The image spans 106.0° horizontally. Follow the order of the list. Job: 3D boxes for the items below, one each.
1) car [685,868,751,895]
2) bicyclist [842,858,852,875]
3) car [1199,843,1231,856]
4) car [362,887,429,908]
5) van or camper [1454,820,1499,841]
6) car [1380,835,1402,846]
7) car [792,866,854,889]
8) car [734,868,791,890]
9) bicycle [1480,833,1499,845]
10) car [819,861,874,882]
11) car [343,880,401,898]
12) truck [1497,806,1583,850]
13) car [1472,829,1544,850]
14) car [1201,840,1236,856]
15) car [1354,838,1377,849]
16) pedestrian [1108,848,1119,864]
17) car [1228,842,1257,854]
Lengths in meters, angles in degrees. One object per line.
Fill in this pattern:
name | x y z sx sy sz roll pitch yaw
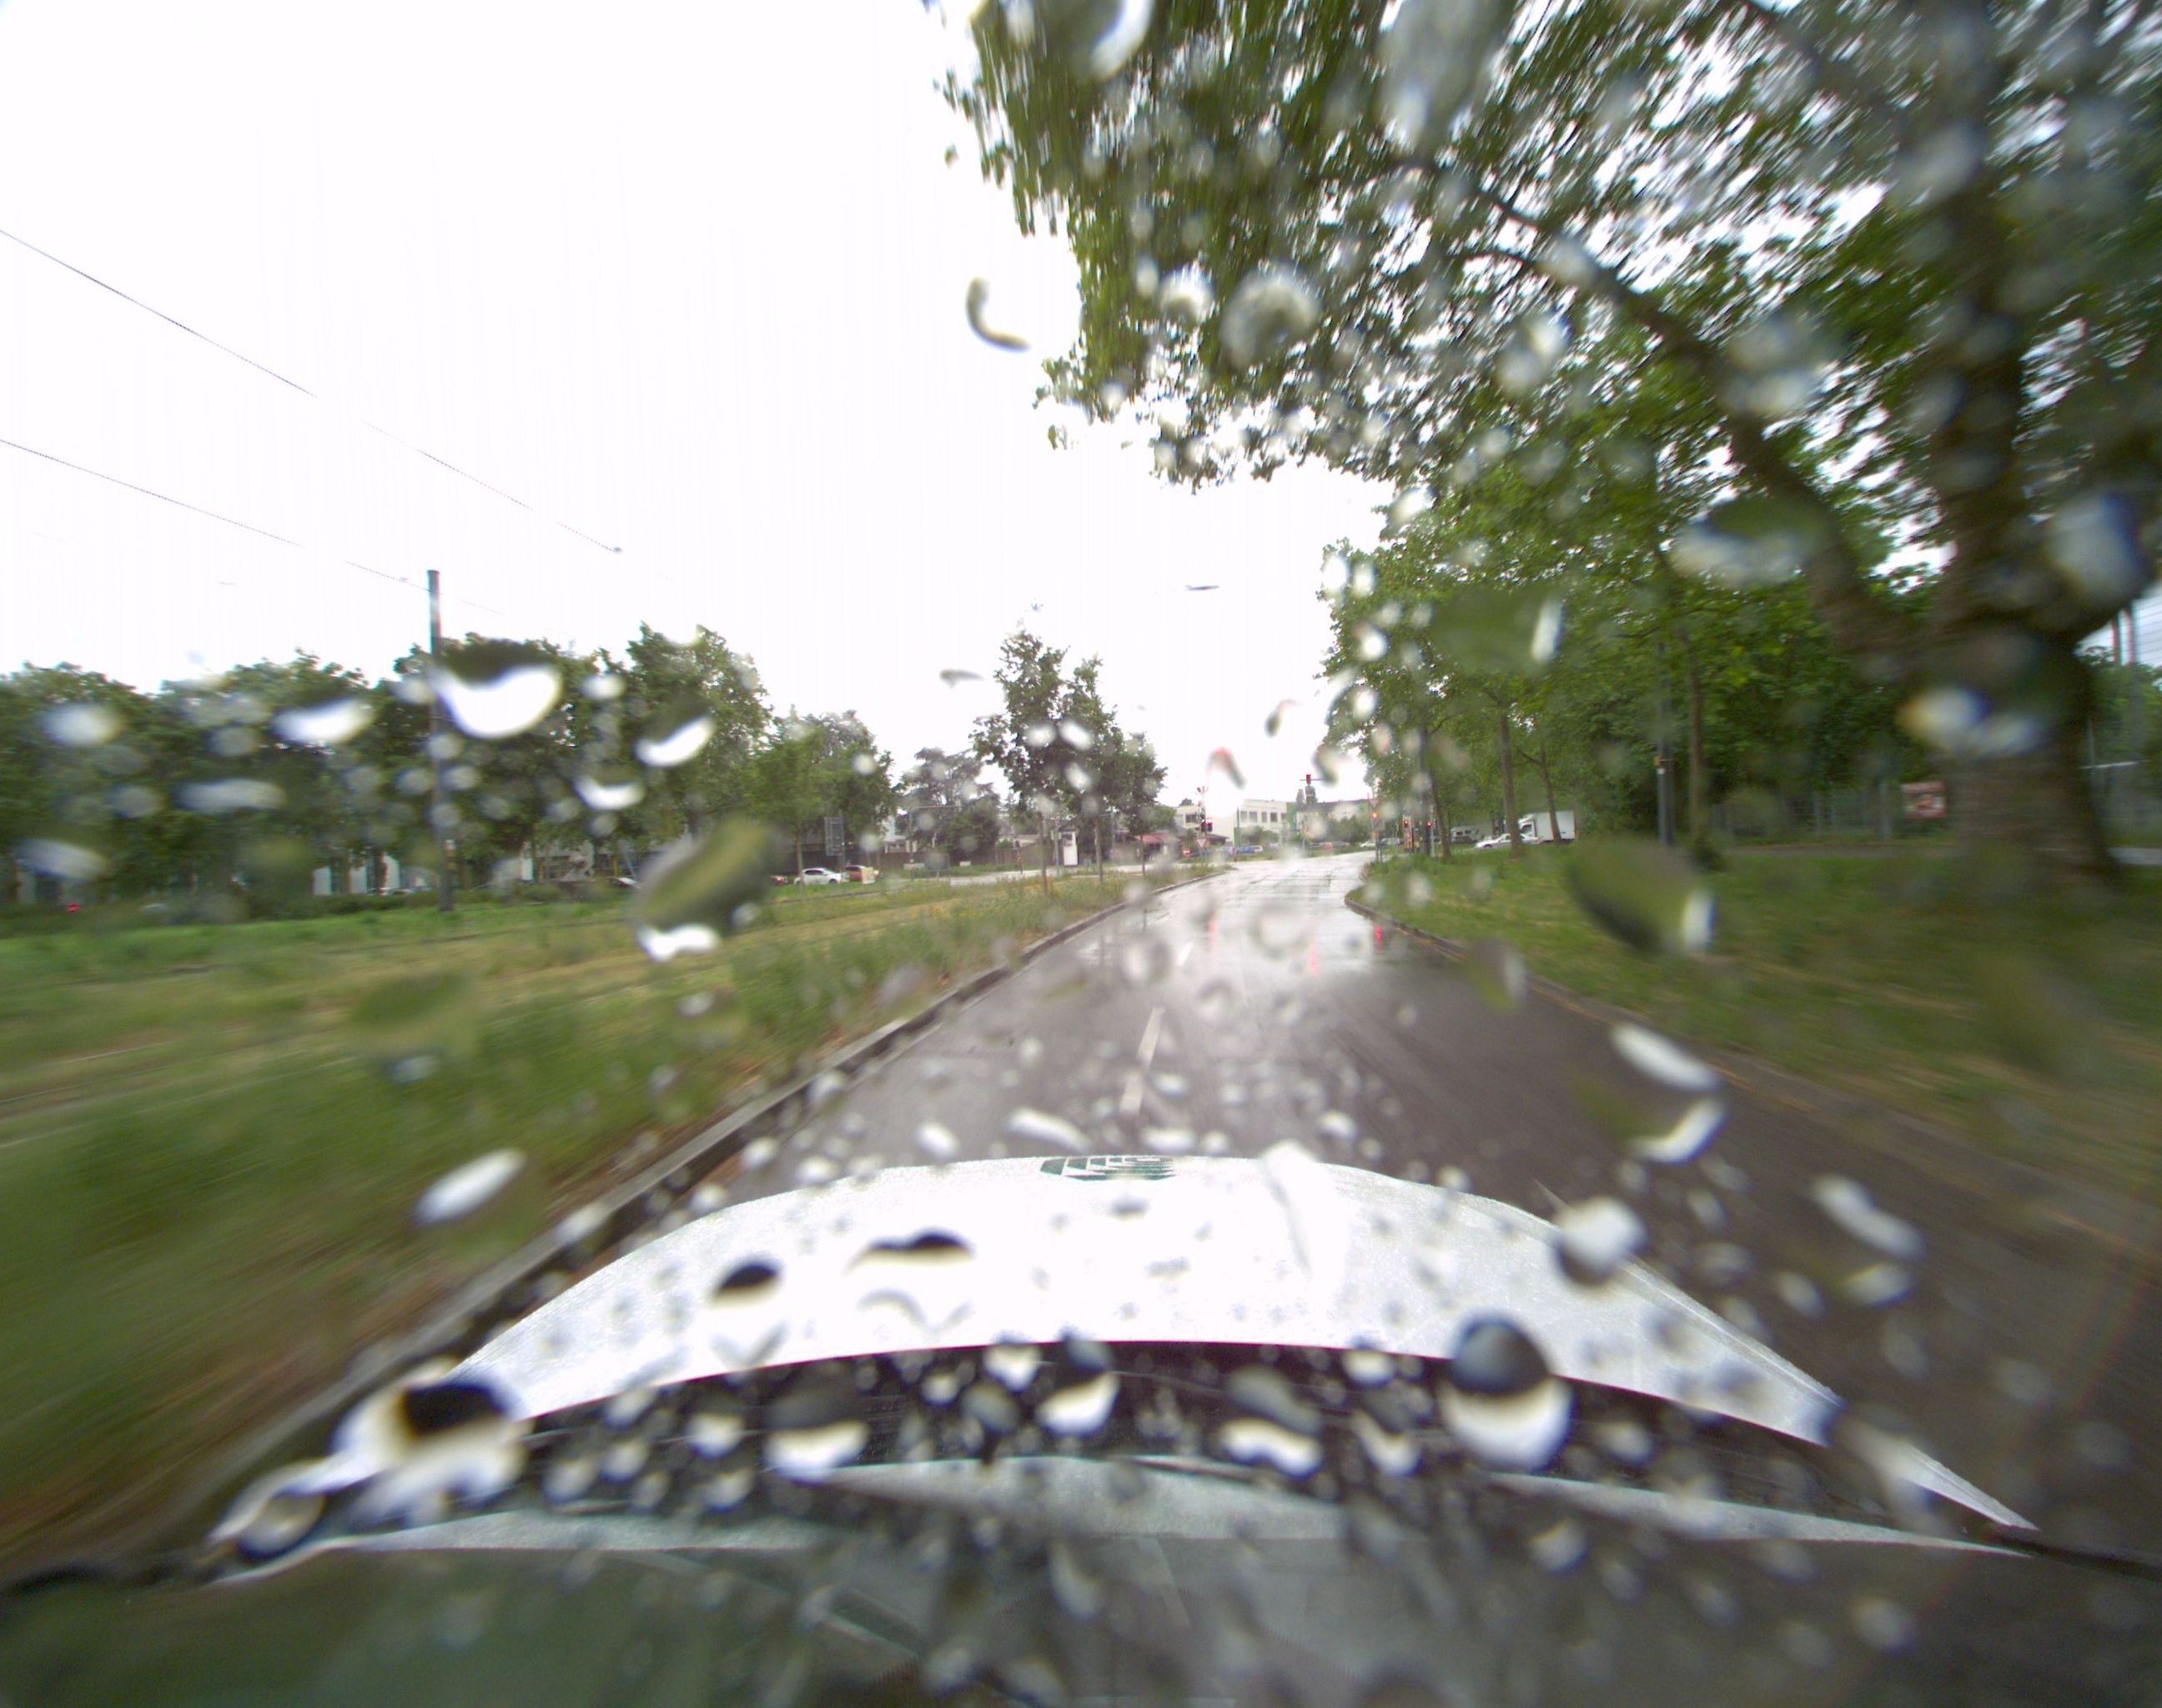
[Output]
car | -27.736 2.106 62.300 4.194 1.796 1.653 -3 1 1
bicyclist | -24.711 1.336 86.093 0.679 1.683 0.644 -3 -1 13
car | 16.809 -0.568 102.189 3.719 1.442 1.771 -3 0 19
car | -53.182 3.369 63.198 3.799 1.395 1.654 -3 0 5
van or camper | 53.460 -3.180 110.144 5.169 2.697 2.258 -1 1 35
car | 66.331 -2.933 174.335 4.098 1.975 1.683 -4 -1 23
car | -19.400 1.762 61.357 4.046 1.499 1.654 -3 0 5
car | -25.630 2.001 65.578 3.893 1.498 1.653 -3 1 1
bicycle | 40.557 -1.477 80.883 1.555 1.101 0.500 -3 0 3
car | -18.718 1.390 65.196 3.800 1.499 1.654 -3 0 5
car | -65.795 3.236 75.610 3.971 1.420 1.539 -3 0 2
truck | 35.876 -2.000 63.748 5.430 3.058 1.988 -3 0 13
car | 32.182 -1.089 61.453 4.480 1.390 1.650 -3 0 13
car | 17.802 -0.755 105.522 4.098 1.860 1.683 -4 -1 23
car | 55.492 -1.997 158.817 4.107 1.860 1.679 -3 0 12
pedestrian | 3.628 0.209 92.177 0.805 1.763 0.900 -3 0 -28
car | 21.682 -0.842 109.555 3.727 1.442 1.768 -3 0 10
